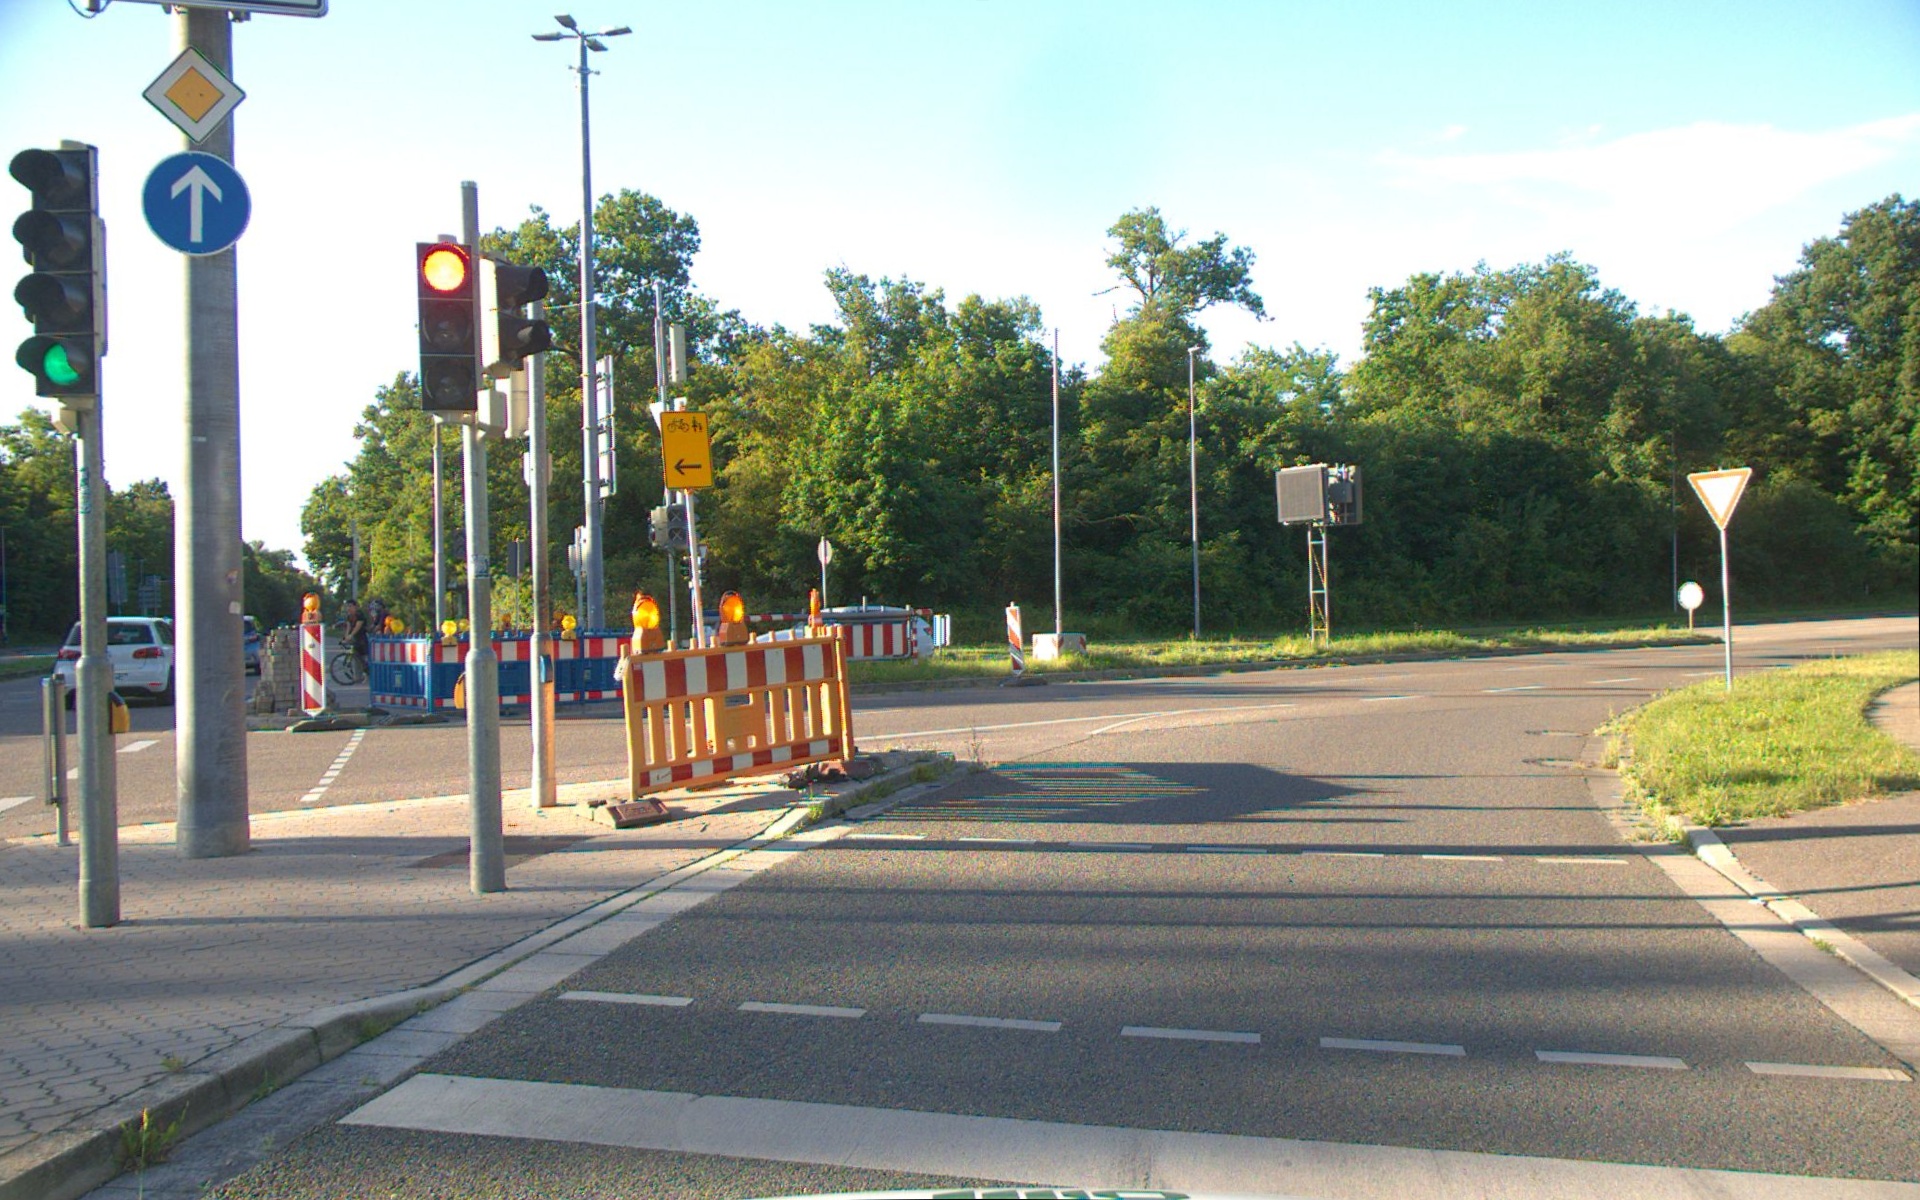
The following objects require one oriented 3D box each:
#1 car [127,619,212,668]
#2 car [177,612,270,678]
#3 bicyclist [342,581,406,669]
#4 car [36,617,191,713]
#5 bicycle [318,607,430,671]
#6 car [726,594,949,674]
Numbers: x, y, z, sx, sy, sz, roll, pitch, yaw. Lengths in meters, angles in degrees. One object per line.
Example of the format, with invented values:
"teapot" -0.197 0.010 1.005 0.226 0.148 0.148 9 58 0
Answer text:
"car" -24.951 1.338 52.330 1.834 1.469 3.980 -1 0 -17
"car" -19.106 1.134 43.022 1.965 1.563 3.974 -2 0 -21
"bicyclist" -13.305 0.564 37.566 0.945 1.963 1.016 -1 -1 19
"car" -14.340 1.050 28.224 1.913 1.439 3.974 -2 0 -21
"bicycle" -13.284 0.864 37.601 0.945 1.407 2.641 0 0 19
"car" -2.737 0.737 37.541 4.787 1.608 1.972 -1 0 -39
